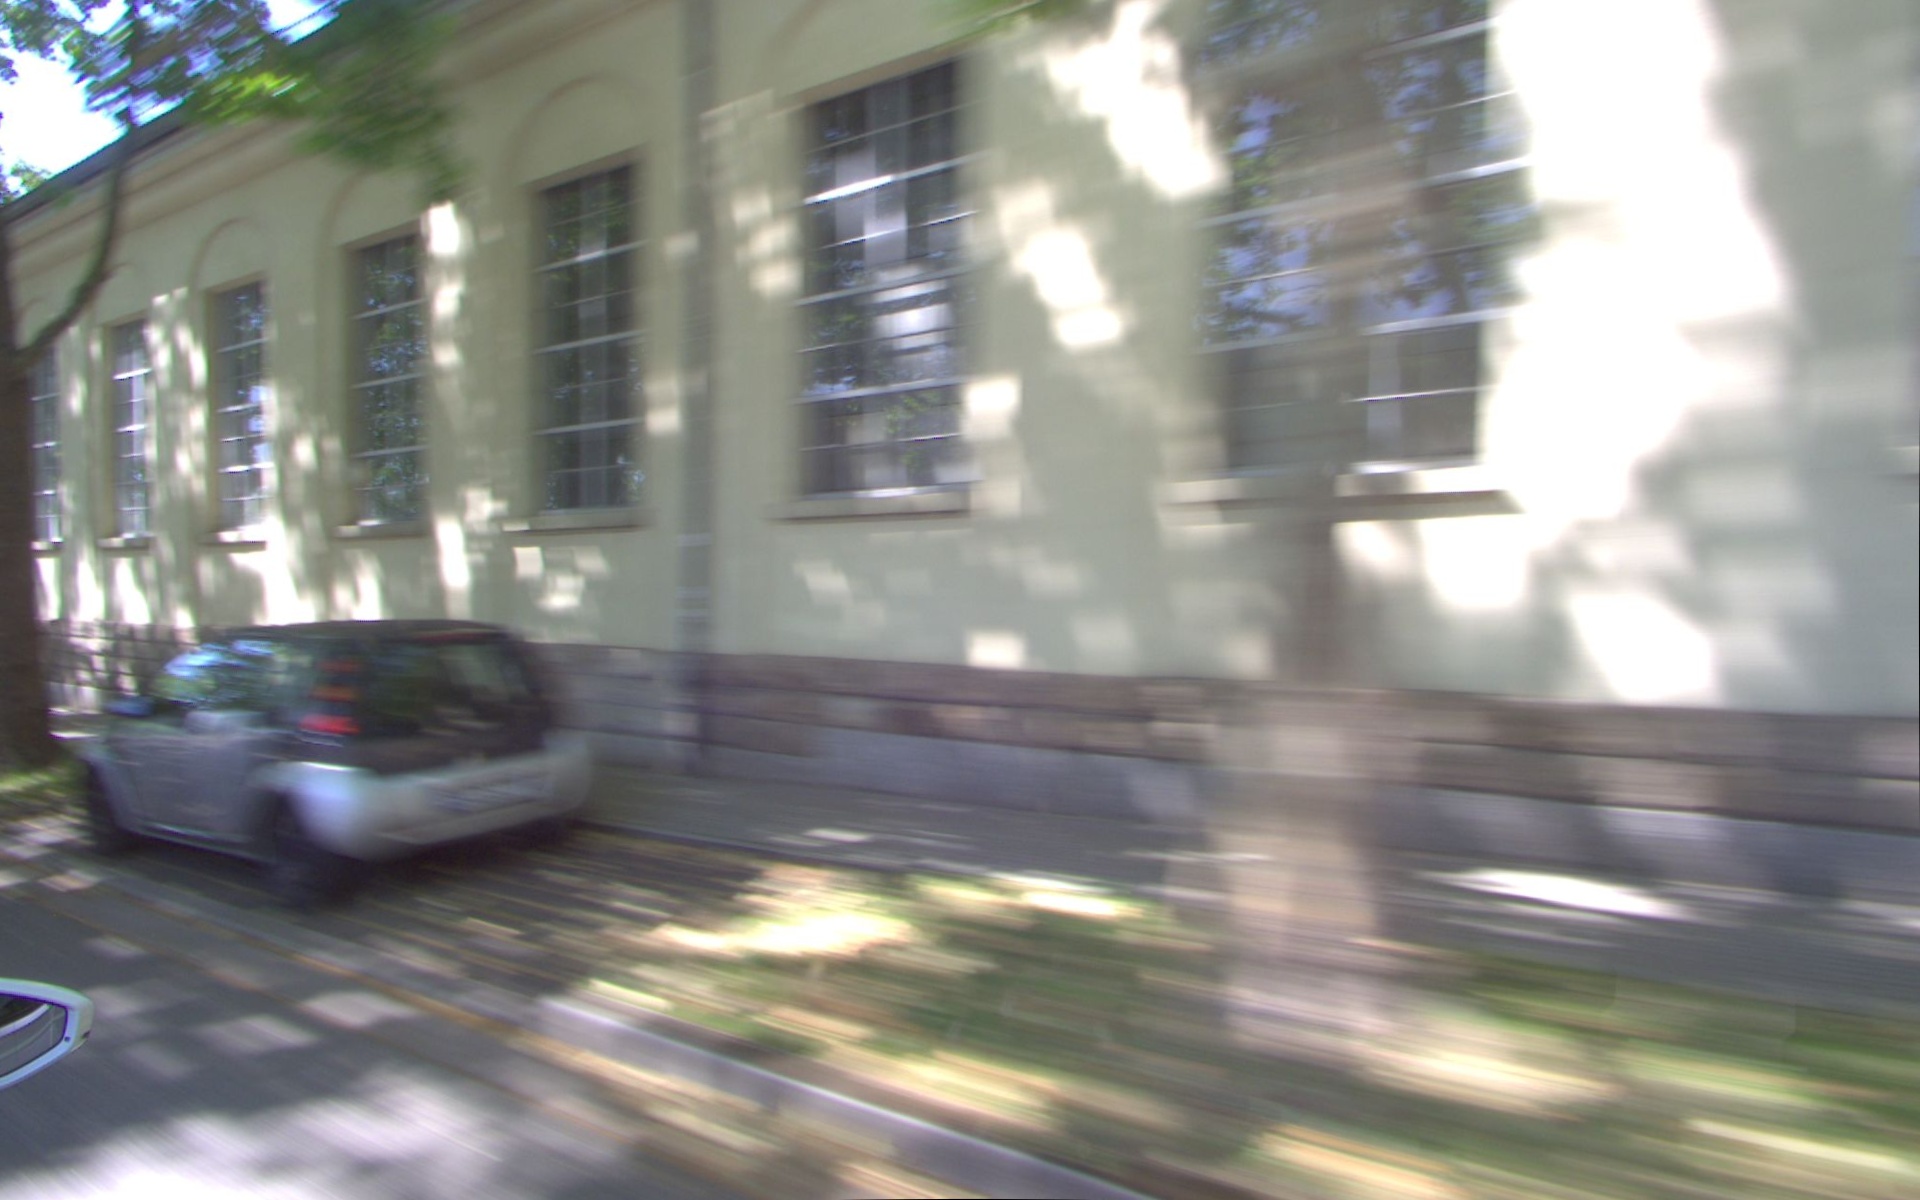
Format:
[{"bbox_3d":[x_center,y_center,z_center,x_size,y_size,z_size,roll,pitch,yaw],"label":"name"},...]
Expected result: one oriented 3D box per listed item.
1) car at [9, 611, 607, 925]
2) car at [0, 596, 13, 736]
[{"bbox_3d":[-4.464,0.830,6.655,4.368,1.459,1.617,0,1,32],"label":"car"},{"bbox_3d":[-14.212,0.840,12.878,4.683,1.712,1.804,0,1,32],"label":"car"}]
